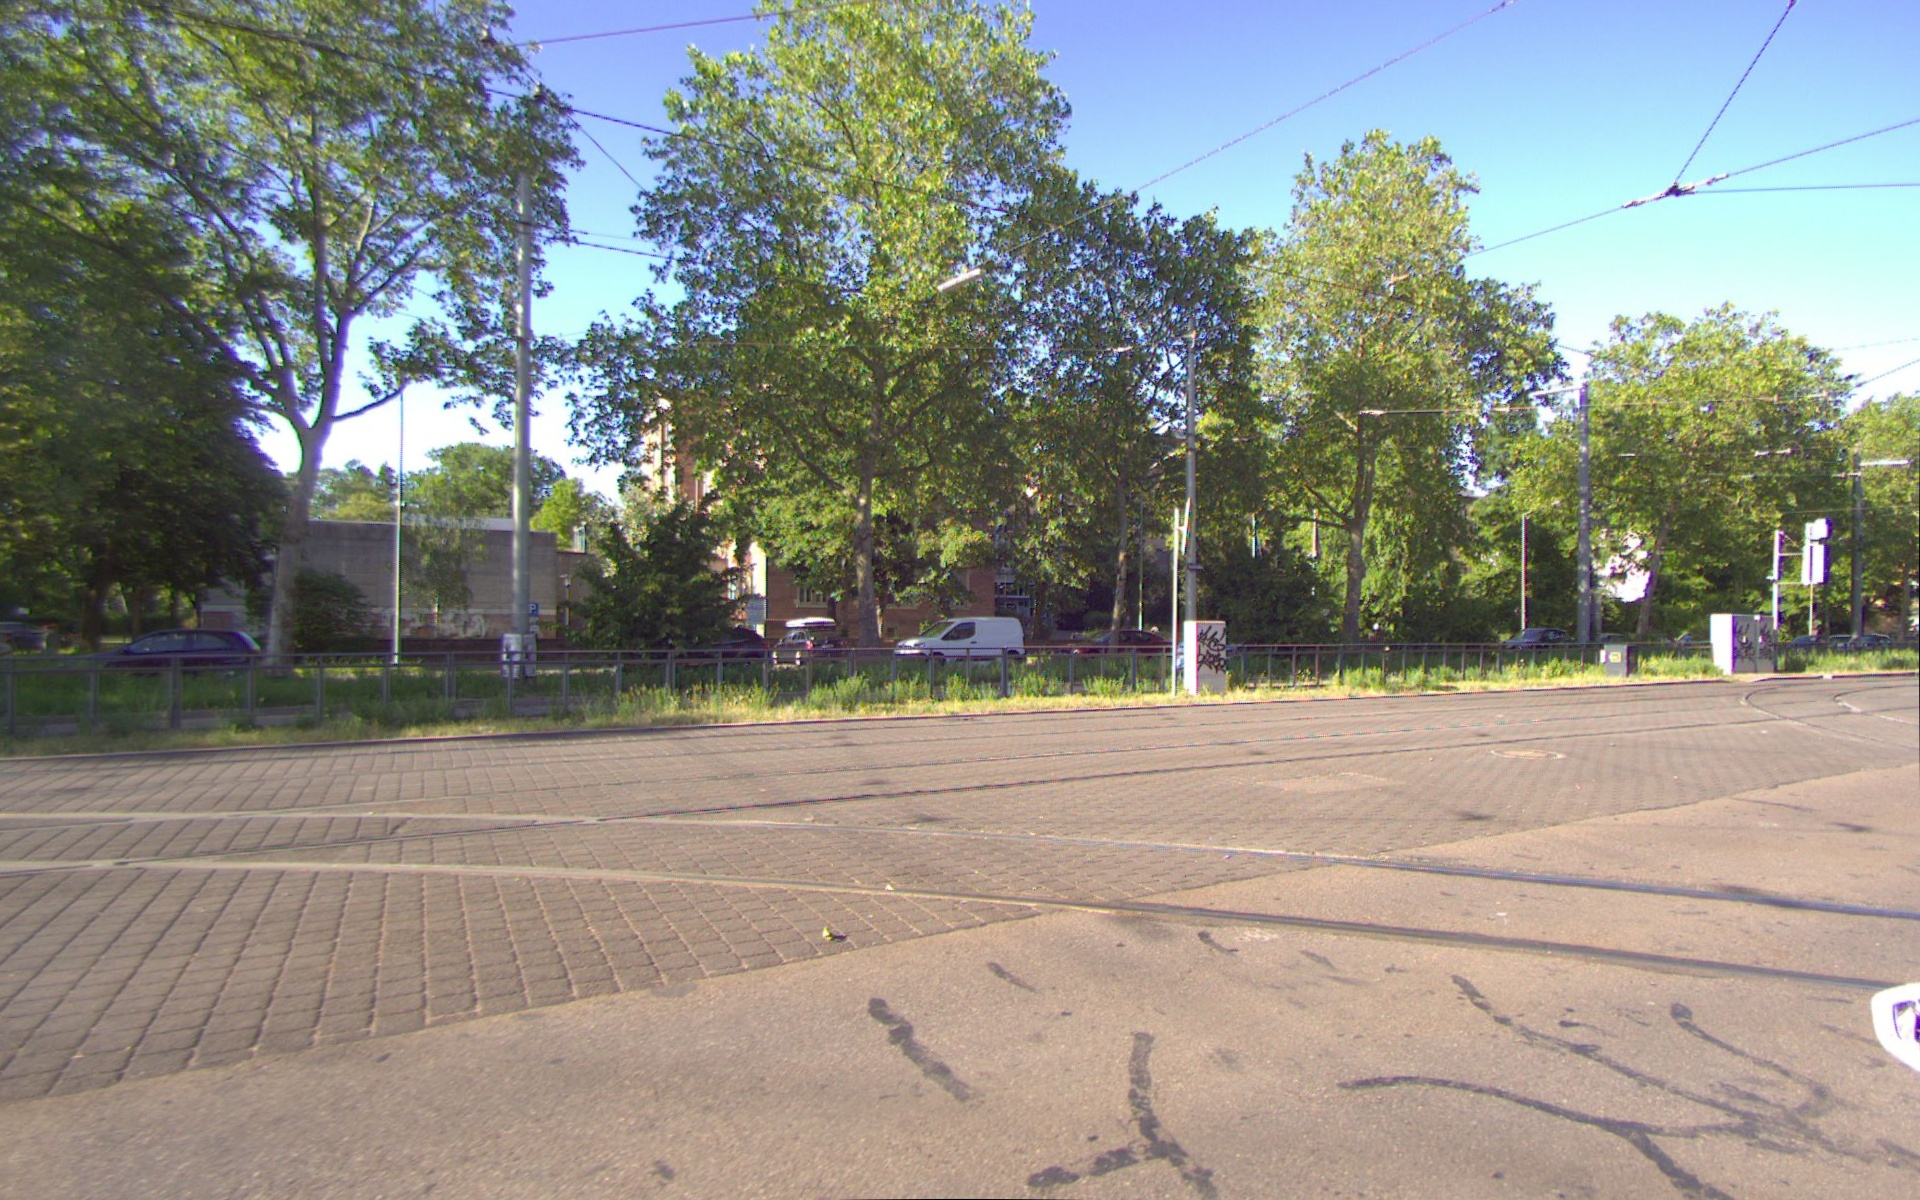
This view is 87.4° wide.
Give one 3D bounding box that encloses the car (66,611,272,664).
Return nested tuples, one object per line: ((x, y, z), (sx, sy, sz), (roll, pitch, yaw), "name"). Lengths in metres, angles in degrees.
((-17.345, 0.806, 22.225), (3.363, 1.043, 1.473), (1, 2, -29), "car")

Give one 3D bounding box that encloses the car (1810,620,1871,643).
((56.250, 2.011, 64.176), (3.734, 1.330, 1.761), (1, 2, -29), "car")

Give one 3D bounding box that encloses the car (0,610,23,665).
((-21.073, 0.752, 20.106), (3.090, 1.063, 1.493), (1, 2, -29), "car")

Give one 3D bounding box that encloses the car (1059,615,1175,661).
((5.497, 1.308, 35.145), (3.770, 1.491, 1.586), (1, 2, -26), "car")

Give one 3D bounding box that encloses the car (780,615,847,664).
((-5.963, 1.550, 40.572), (1.594, 1.841, 3.924), (1, 0, -26), "car")

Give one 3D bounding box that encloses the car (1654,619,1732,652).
((41.051, 1.946, 56.204), (4.464, 1.706, 1.982), (1, 2, -32), "car")

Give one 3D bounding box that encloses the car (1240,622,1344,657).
((12.523, 1.482, 37.868), (3.717, 1.237, 1.613), (1, 0, -29), "car")

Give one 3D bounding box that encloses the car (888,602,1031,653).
((-0.003, 0.861, 32.463), (4.293, 1.491, 1.734), (1, 2, -29), "car")
